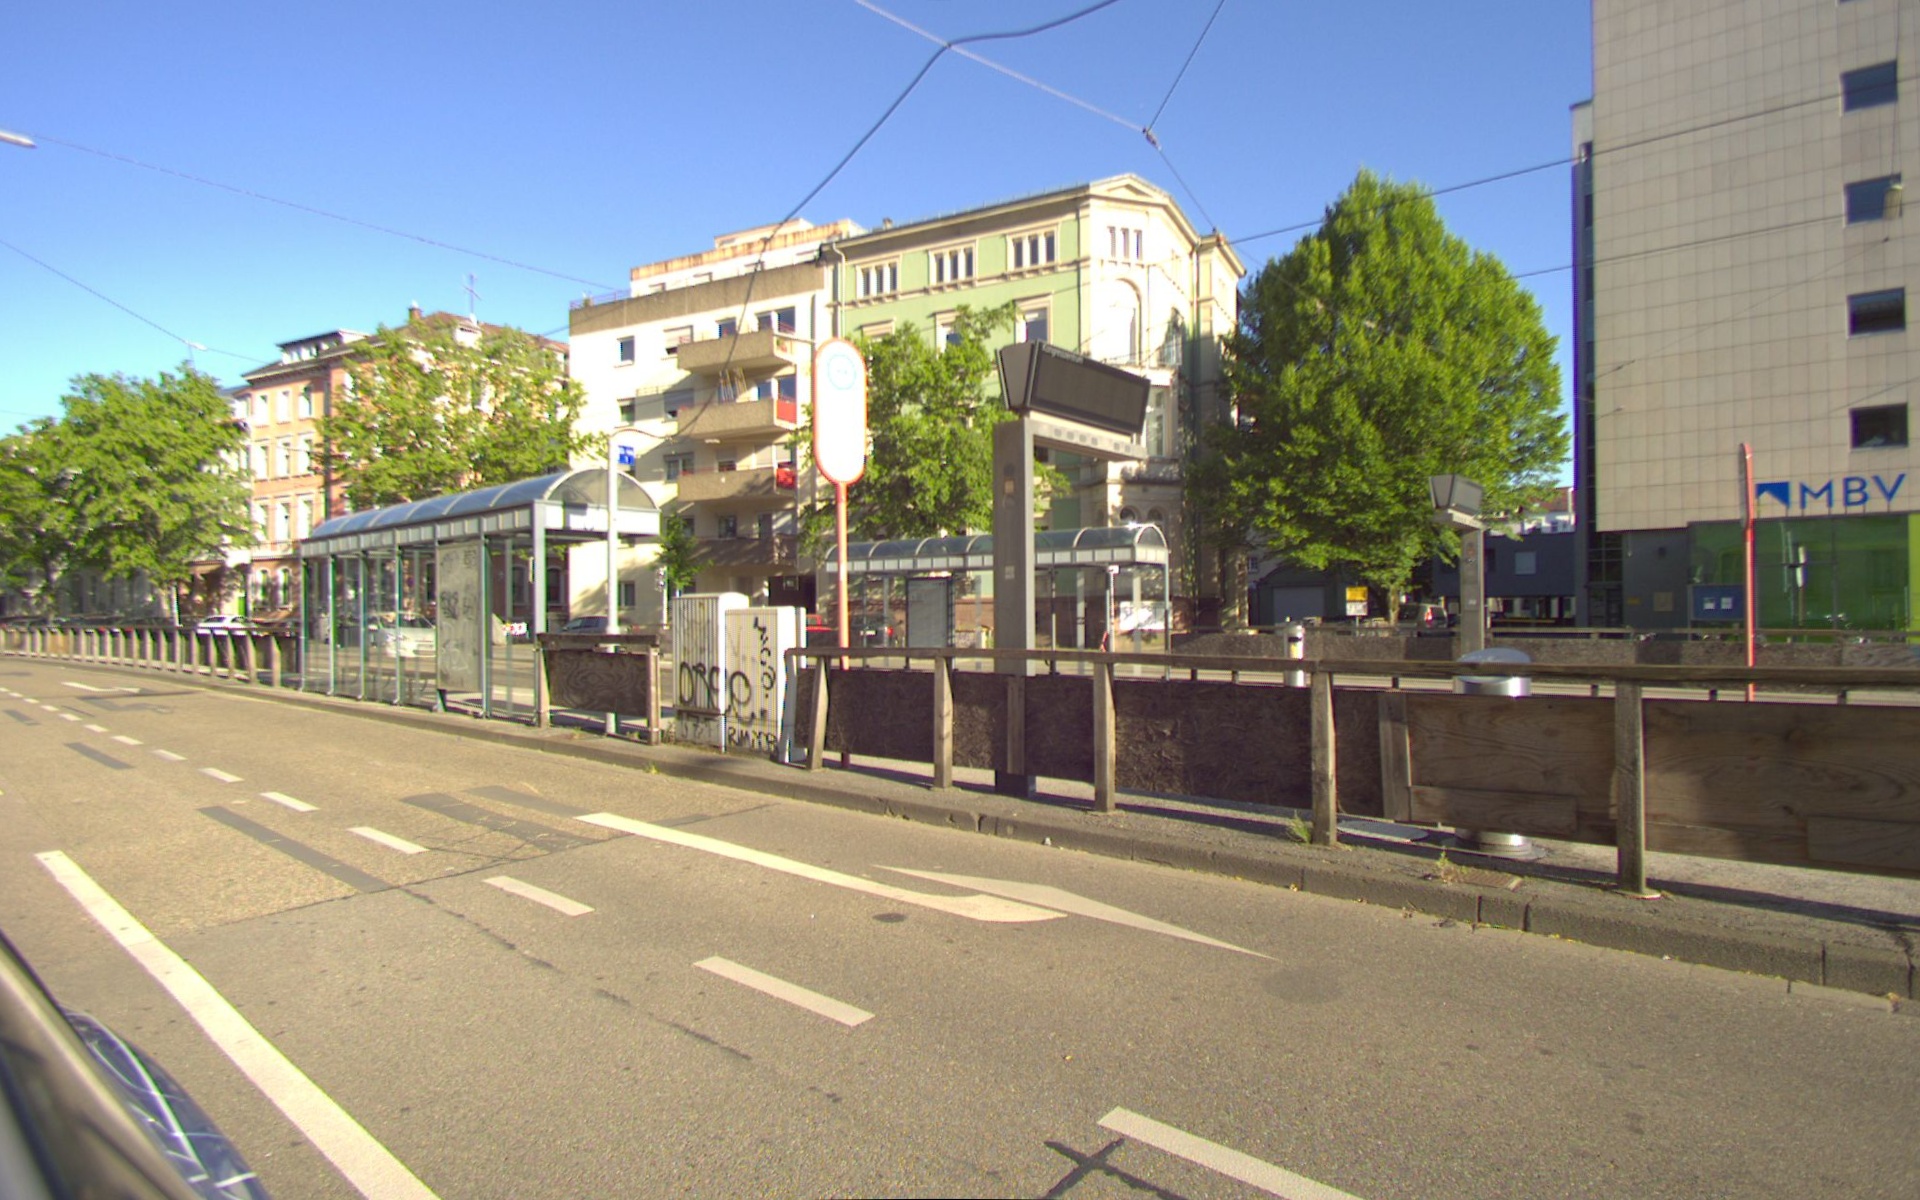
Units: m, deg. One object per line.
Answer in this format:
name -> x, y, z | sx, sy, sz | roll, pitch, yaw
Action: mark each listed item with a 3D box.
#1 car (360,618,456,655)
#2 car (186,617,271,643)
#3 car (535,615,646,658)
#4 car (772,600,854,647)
car -> -23.805, 1.544, 43.643 | 3.987, 1.541, 1.978 | -1, -2, 32
car -> -39.106, 1.592, 54.202 | 1.565, 1.360, 3.631 | 0, -1, 11
car -> -14.111, 1.366, 38.622 | 3.987, 1.541, 1.978 | -1, -2, 32
car -> -6.664, 1.069, 46.362 | 1.791, 2.029, 3.963 | -1, -1, 27
